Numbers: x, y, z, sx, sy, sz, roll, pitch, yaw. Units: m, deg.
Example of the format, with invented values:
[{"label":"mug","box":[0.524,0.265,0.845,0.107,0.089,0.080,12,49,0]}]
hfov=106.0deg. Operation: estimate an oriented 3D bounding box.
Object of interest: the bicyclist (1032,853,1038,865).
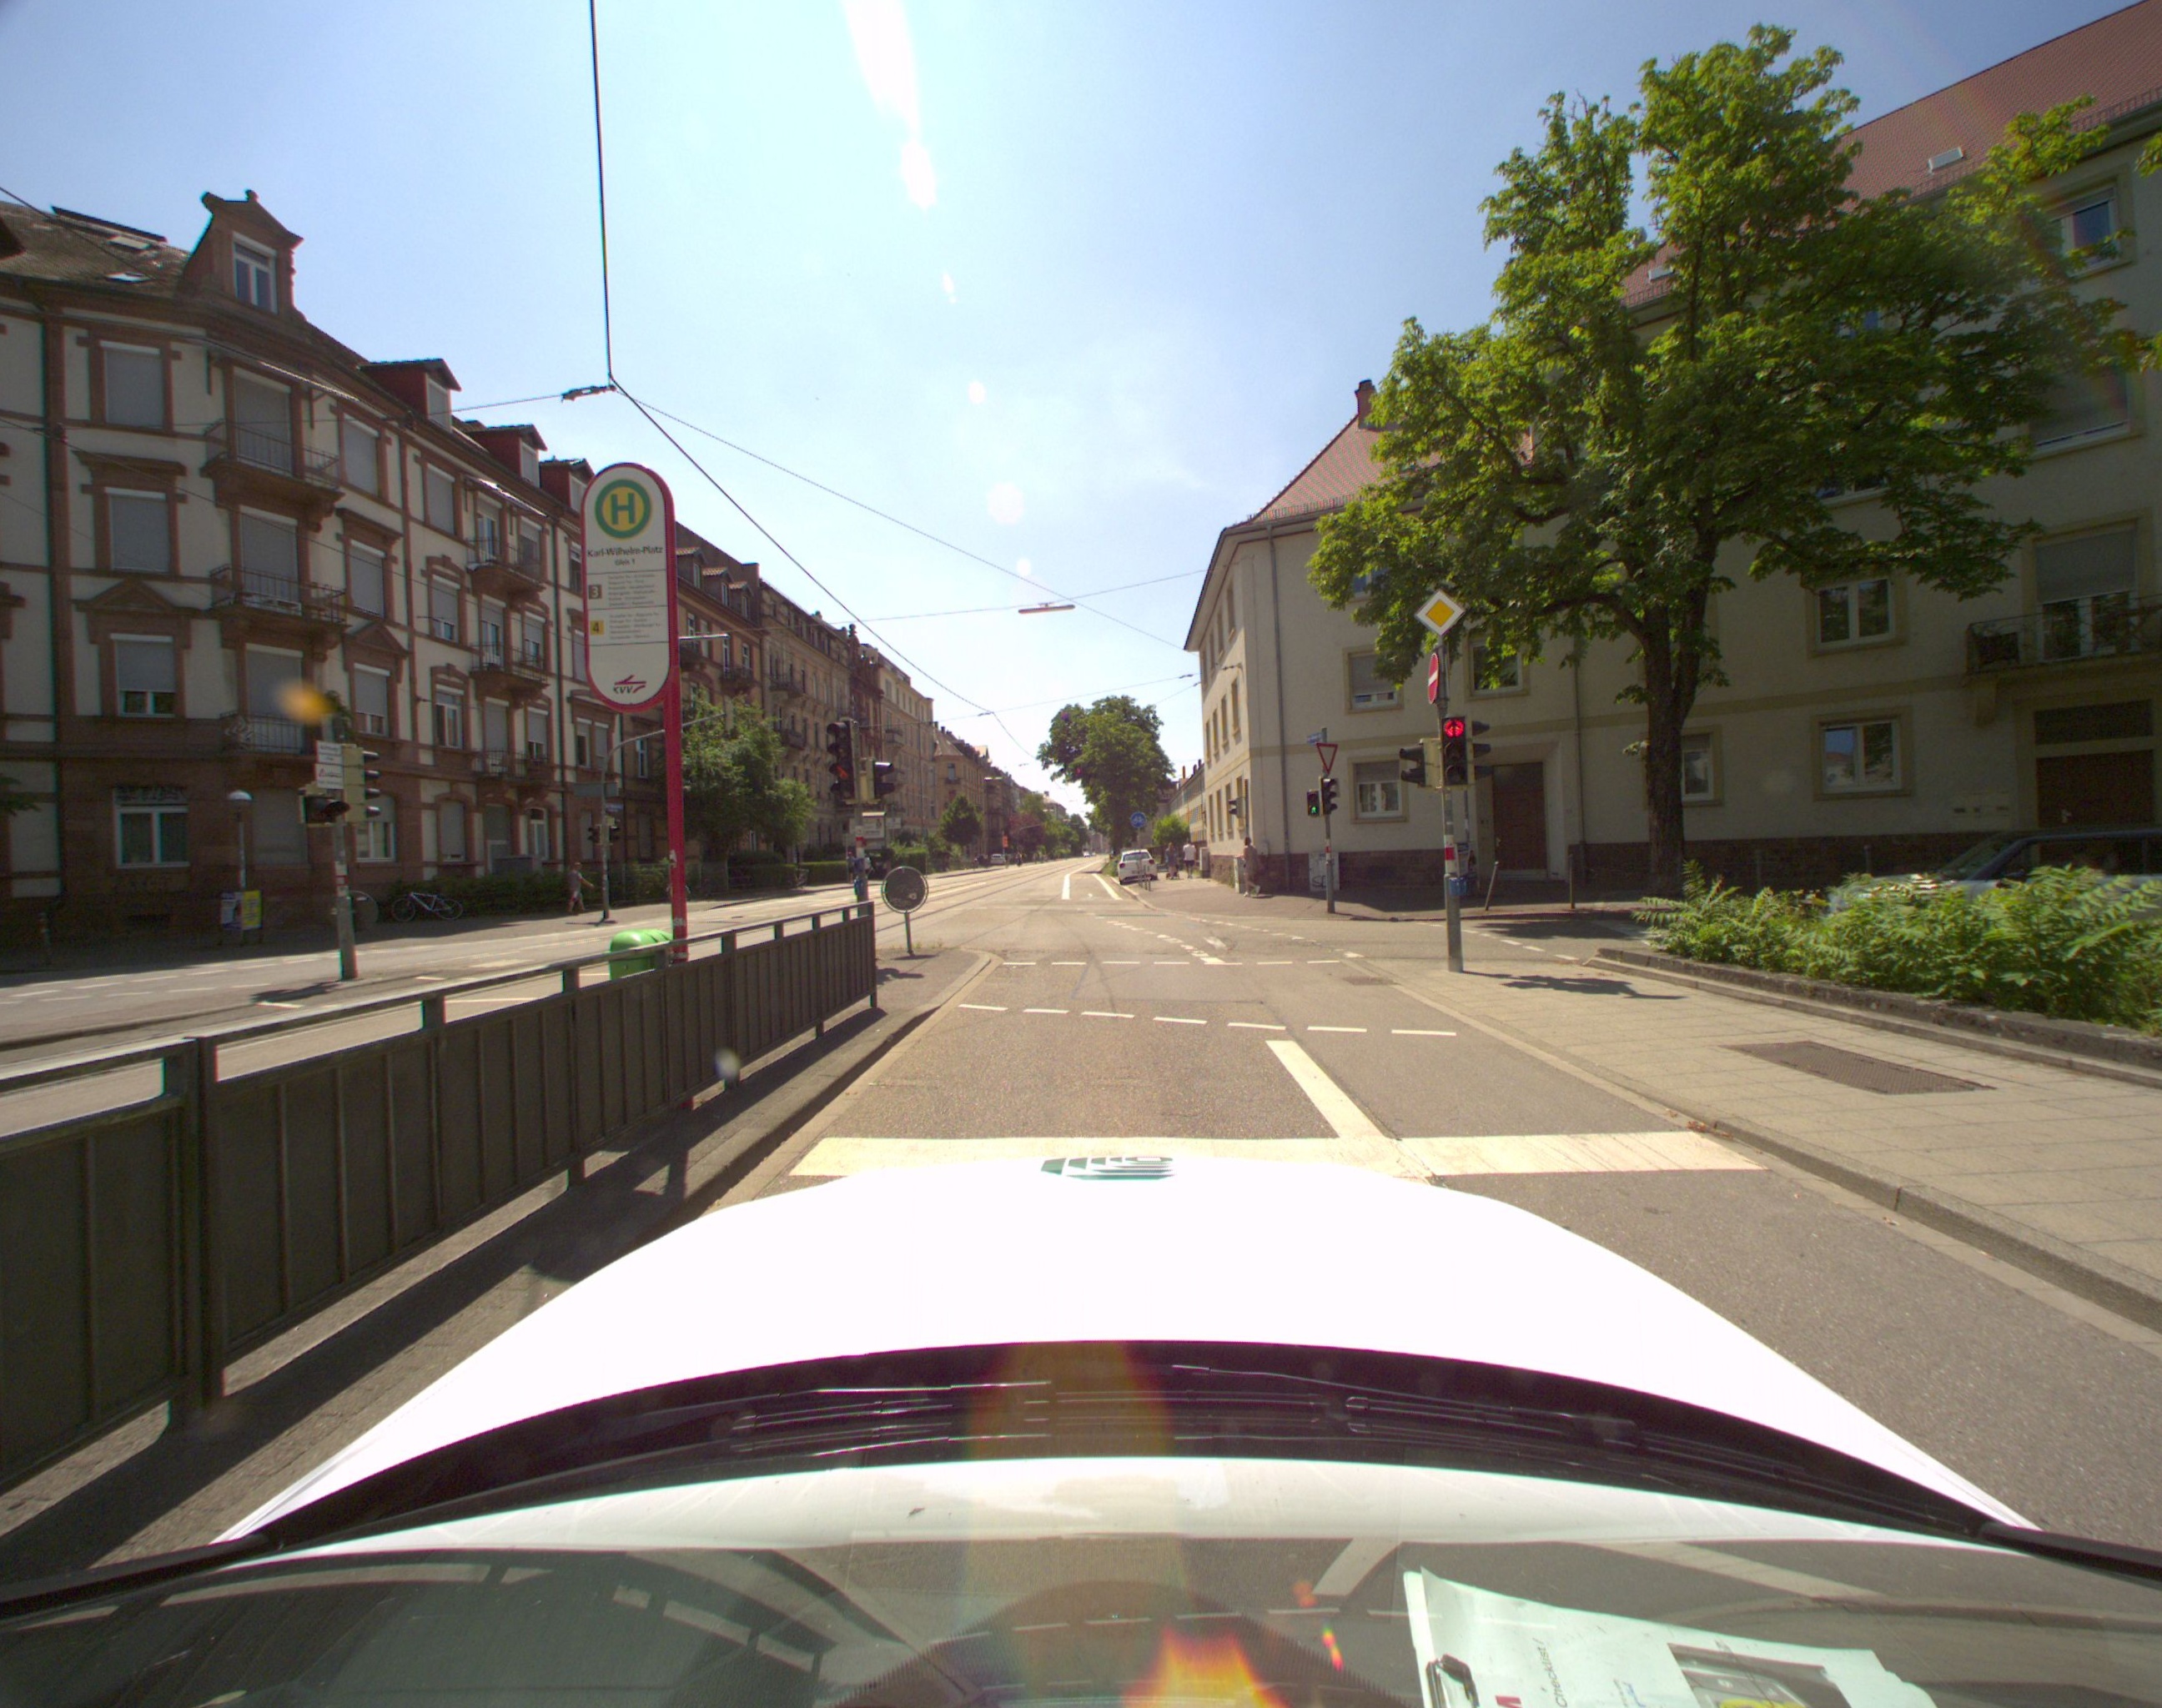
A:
[{"label":"bicyclist","box":[-7.031,0.811,124.585,0.724,1.818,1.080,0,-1,3]}]

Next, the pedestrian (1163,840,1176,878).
[{"label":"pedestrian","box":[3.890,0.224,35.925,0.554,1.645,0.678,0,-1,7]}]

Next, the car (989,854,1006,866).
[{"label":"car","box":[-11.884,0.810,116.068,1.912,1.715,4.001,0,-1,2]}]

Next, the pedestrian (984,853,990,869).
[{"label":"pedestrian","box":[-10.295,0.769,89.033,0.519,1.659,0.529,-2,0,1]}]

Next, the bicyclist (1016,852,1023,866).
[{"label":"bicyclist","box":[-7.642,0.609,101.017,0.724,1.768,1.080,0,-1,3]}]

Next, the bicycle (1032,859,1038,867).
[{"label":"bicycle","box":[-7.031,1.403,124.585,0.724,1.123,2.087,0,-1,4]}]

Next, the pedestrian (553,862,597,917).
[{"label":"pedestrian","box":[-16.545,1.142,26.608,1.068,1.689,0.714,-2,0,-41]}]

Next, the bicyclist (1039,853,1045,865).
[{"label":"bicyclist","box":[-5.946,0.764,124.706,0.724,1.818,1.080,0,-1,3]}]

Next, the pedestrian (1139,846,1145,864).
[{"label":"pedestrian","box":[5.595,0.096,74.580,0.519,1.562,0.573,-2,0,1]}]

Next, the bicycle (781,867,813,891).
[{"label":"bicycle","box":[-14.382,1.256,41.261,0.936,1.136,2.767,0,-1,-7]}]

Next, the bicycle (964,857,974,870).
[{"label":"bicycle","box":[-11.713,0.957,85.139,0.675,1.278,1.918,-2,0,-1]}]

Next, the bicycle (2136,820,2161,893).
[{"label":"bicycle","box":[17.007,0.024,12.086,0.527,1.104,1.589,-2,0,-34]}]

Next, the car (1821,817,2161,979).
[{"label":"car","box":[10.295,0.393,8.577,1.716,1.506,3.607,-2,1,-45]}]

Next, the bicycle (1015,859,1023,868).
[{"label":"bicycle","box":[-7.661,1.171,100.919,0.724,1.123,2.087,0,-1,4]}]

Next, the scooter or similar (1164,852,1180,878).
[{"label":"scooter or similar","box":[4.112,0.472,36.857,0.553,1.155,1.210,-1,-1,14]}]

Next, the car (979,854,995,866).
[{"label":"car","box":[-14.336,0.896,124.470,1.912,1.715,4.001,0,-1,2]}]

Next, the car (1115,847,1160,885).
[{"label":"car","box":[2.521,0.533,37.401,1.808,1.516,4.001,-4,-1,2]}]

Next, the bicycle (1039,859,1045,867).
[{"label":"bicycle","box":[-5.930,1.368,124.663,0.724,1.123,2.087,0,-1,4]}]

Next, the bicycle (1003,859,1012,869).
[{"label":"bicycle","box":[-8.111,1.086,89.972,0.724,1.123,2.087,0,-1,4]}]

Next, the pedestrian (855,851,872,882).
[{"label":"pedestrian","box":[-12.922,0.753,48.333,0.814,1.822,0.872,0,1,-4]}]

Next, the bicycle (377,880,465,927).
[{"label":"bicycle","box":[-19.558,1.439,24.163,0.557,1.294,1.975,-1,-1,43]}]

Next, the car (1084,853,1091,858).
[{"label":"car","box":[1.892,0.505,231.863,1.699,1.277,4.001,0,0,2]}]

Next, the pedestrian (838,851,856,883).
[{"label":"pedestrian","box":[-13.732,0.772,47.798,0.814,1.822,0.872,0,1,-4]}]

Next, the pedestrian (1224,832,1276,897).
[{"label":"pedestrian","box":[4.667,0.310,22.538,0.656,1.690,1.046,-9,3,-36]}]

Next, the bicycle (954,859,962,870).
[{"label":"bicycle","box":[-12.158,1.030,80.501,0.677,1.064,1.912,-2,0,-9]}]

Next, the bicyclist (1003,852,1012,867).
[{"label":"bicyclist","box":[-8.123,0.561,89.984,0.724,1.629,1.080,0,-1,3]}]

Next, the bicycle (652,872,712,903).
[{"label":"bicycle","box":[-15.674,1.302,32.085,0.934,1.136,2.774,0,-1,1]}]

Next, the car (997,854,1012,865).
[{"label":"car","box":[-11.664,0.875,124.332,1.912,1.715,4.001,0,-1,2]}]

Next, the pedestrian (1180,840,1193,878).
[{"label":"pedestrian","box":[4.703,0.221,36.236,0.554,1.645,0.678,0,-1,7]}]
